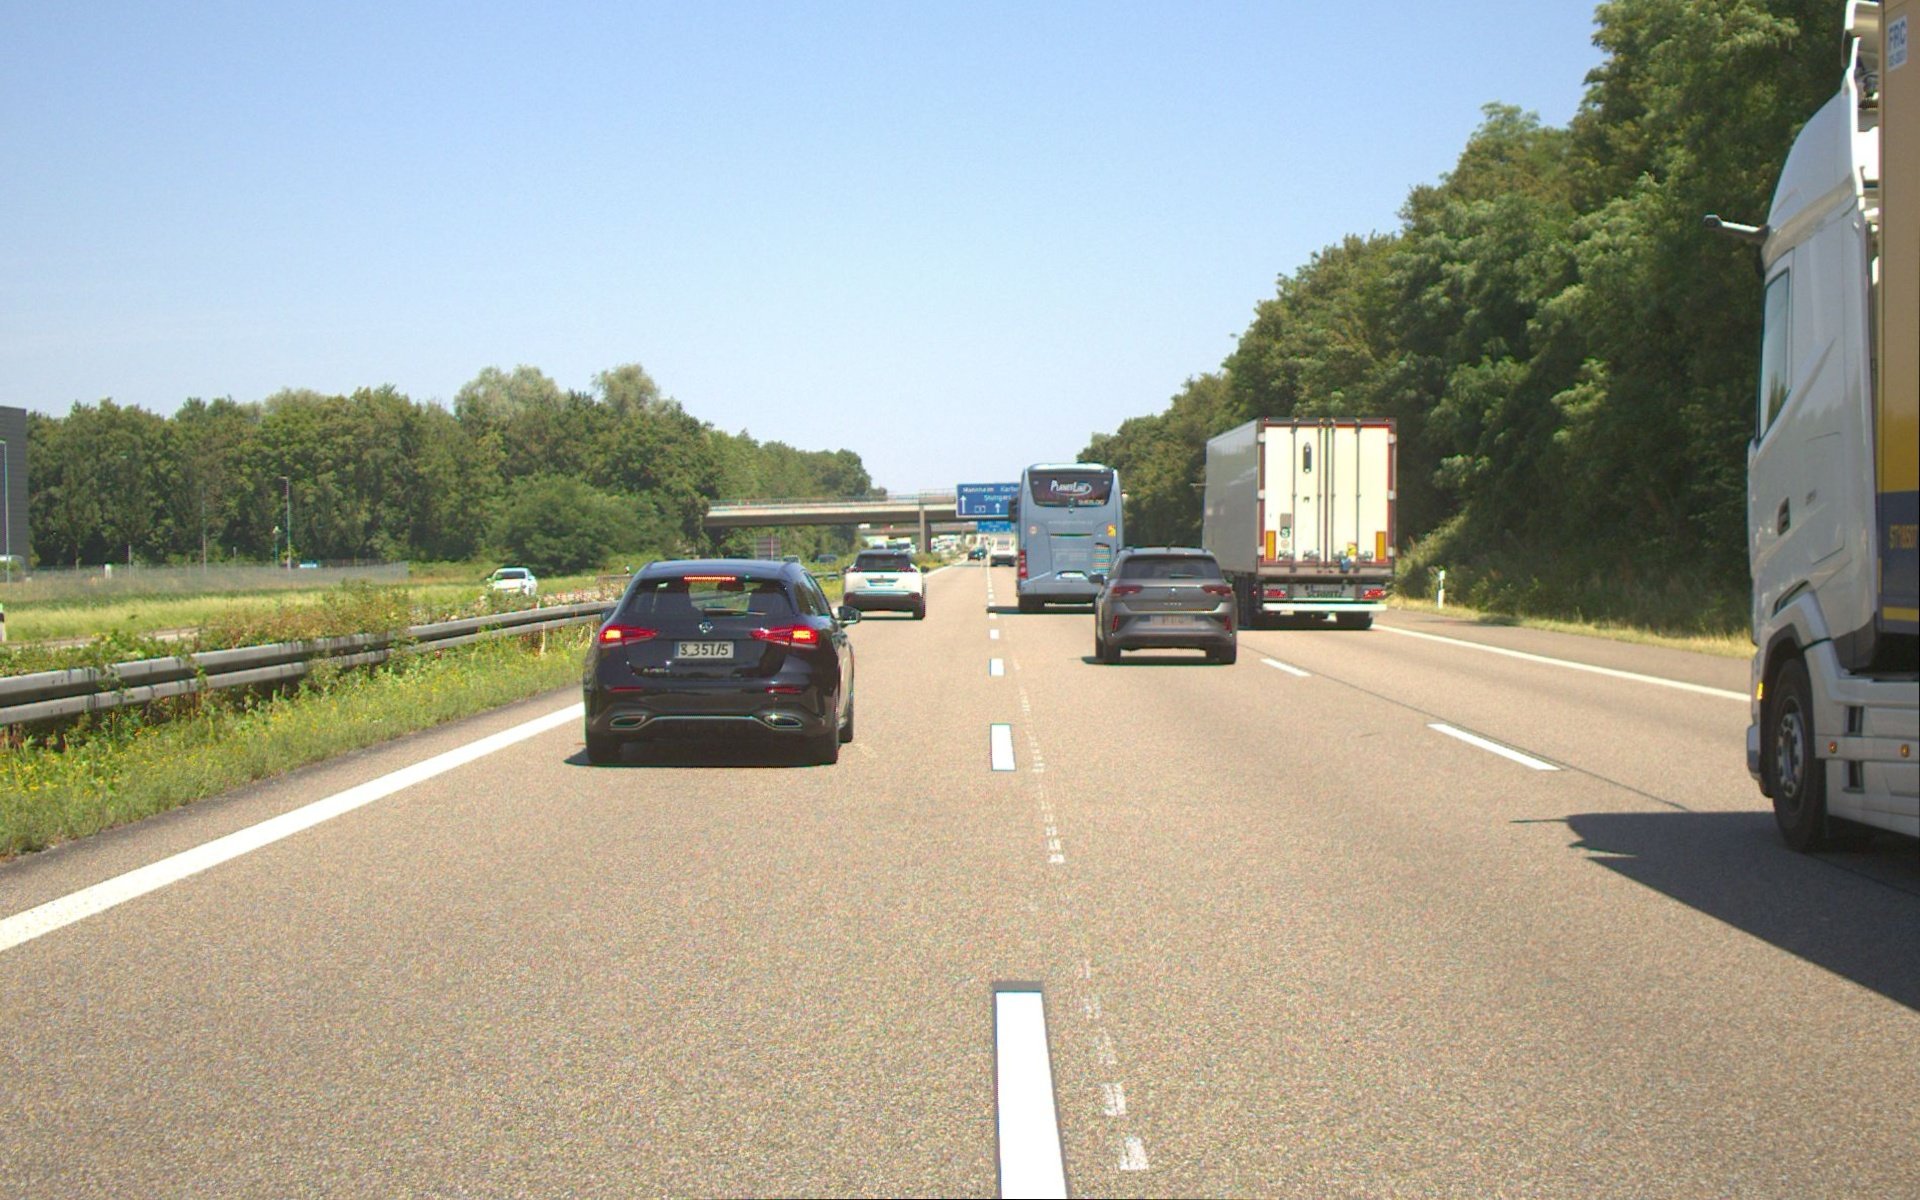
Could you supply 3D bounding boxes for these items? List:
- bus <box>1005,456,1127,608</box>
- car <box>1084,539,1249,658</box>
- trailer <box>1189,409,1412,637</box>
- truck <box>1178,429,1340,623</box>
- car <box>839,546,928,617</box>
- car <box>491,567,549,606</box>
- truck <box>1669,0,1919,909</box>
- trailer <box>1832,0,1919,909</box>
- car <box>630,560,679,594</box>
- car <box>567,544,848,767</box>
[{"bbox_3d":[2.584,-1.674,87.509,2.802,3.584,12.474,0,1,0],"label":"bus"},{"bbox_3d":[2.750,-0.058,46.821,1.899,1.527,4.760,0,1,-1],"label":"car"},{"bbox_3d":[6.787,-1.547,70.748,3.039,4.210,13.836,0,1,-1],"label":"trailer"},{"bbox_3d":[6.708,-1.651,77.835,3.047,4.200,6.049,0,1,-1],"label":"truck"},{"bbox_3d":[-1.676,-0.443,76.429,1.899,1.527,4.242,0,1,-1],"label":"car"},{"bbox_3d":[-17.882,-0.561,139.951,1.799,1.527,4.632,-1,1,-1],"label":"car"},{"bbox_3d":[5.303,-0.770,15.960,2.677,4.056,6.049,0,1,-1],"label":"truck"},{"bbox_3d":[5.381,-0.653,8.656,2.677,4.056,13.836,0,1,-1],"label":"trailer"},{"bbox_3d":[-14.094,-1.077,158.813,1.799,1.527,4.483,-1,1,0],"label":"car"},{"bbox_3d":[-1.773,0.341,25.297,1.799,1.497,4.242,0,1,-1],"label":"car"}]
